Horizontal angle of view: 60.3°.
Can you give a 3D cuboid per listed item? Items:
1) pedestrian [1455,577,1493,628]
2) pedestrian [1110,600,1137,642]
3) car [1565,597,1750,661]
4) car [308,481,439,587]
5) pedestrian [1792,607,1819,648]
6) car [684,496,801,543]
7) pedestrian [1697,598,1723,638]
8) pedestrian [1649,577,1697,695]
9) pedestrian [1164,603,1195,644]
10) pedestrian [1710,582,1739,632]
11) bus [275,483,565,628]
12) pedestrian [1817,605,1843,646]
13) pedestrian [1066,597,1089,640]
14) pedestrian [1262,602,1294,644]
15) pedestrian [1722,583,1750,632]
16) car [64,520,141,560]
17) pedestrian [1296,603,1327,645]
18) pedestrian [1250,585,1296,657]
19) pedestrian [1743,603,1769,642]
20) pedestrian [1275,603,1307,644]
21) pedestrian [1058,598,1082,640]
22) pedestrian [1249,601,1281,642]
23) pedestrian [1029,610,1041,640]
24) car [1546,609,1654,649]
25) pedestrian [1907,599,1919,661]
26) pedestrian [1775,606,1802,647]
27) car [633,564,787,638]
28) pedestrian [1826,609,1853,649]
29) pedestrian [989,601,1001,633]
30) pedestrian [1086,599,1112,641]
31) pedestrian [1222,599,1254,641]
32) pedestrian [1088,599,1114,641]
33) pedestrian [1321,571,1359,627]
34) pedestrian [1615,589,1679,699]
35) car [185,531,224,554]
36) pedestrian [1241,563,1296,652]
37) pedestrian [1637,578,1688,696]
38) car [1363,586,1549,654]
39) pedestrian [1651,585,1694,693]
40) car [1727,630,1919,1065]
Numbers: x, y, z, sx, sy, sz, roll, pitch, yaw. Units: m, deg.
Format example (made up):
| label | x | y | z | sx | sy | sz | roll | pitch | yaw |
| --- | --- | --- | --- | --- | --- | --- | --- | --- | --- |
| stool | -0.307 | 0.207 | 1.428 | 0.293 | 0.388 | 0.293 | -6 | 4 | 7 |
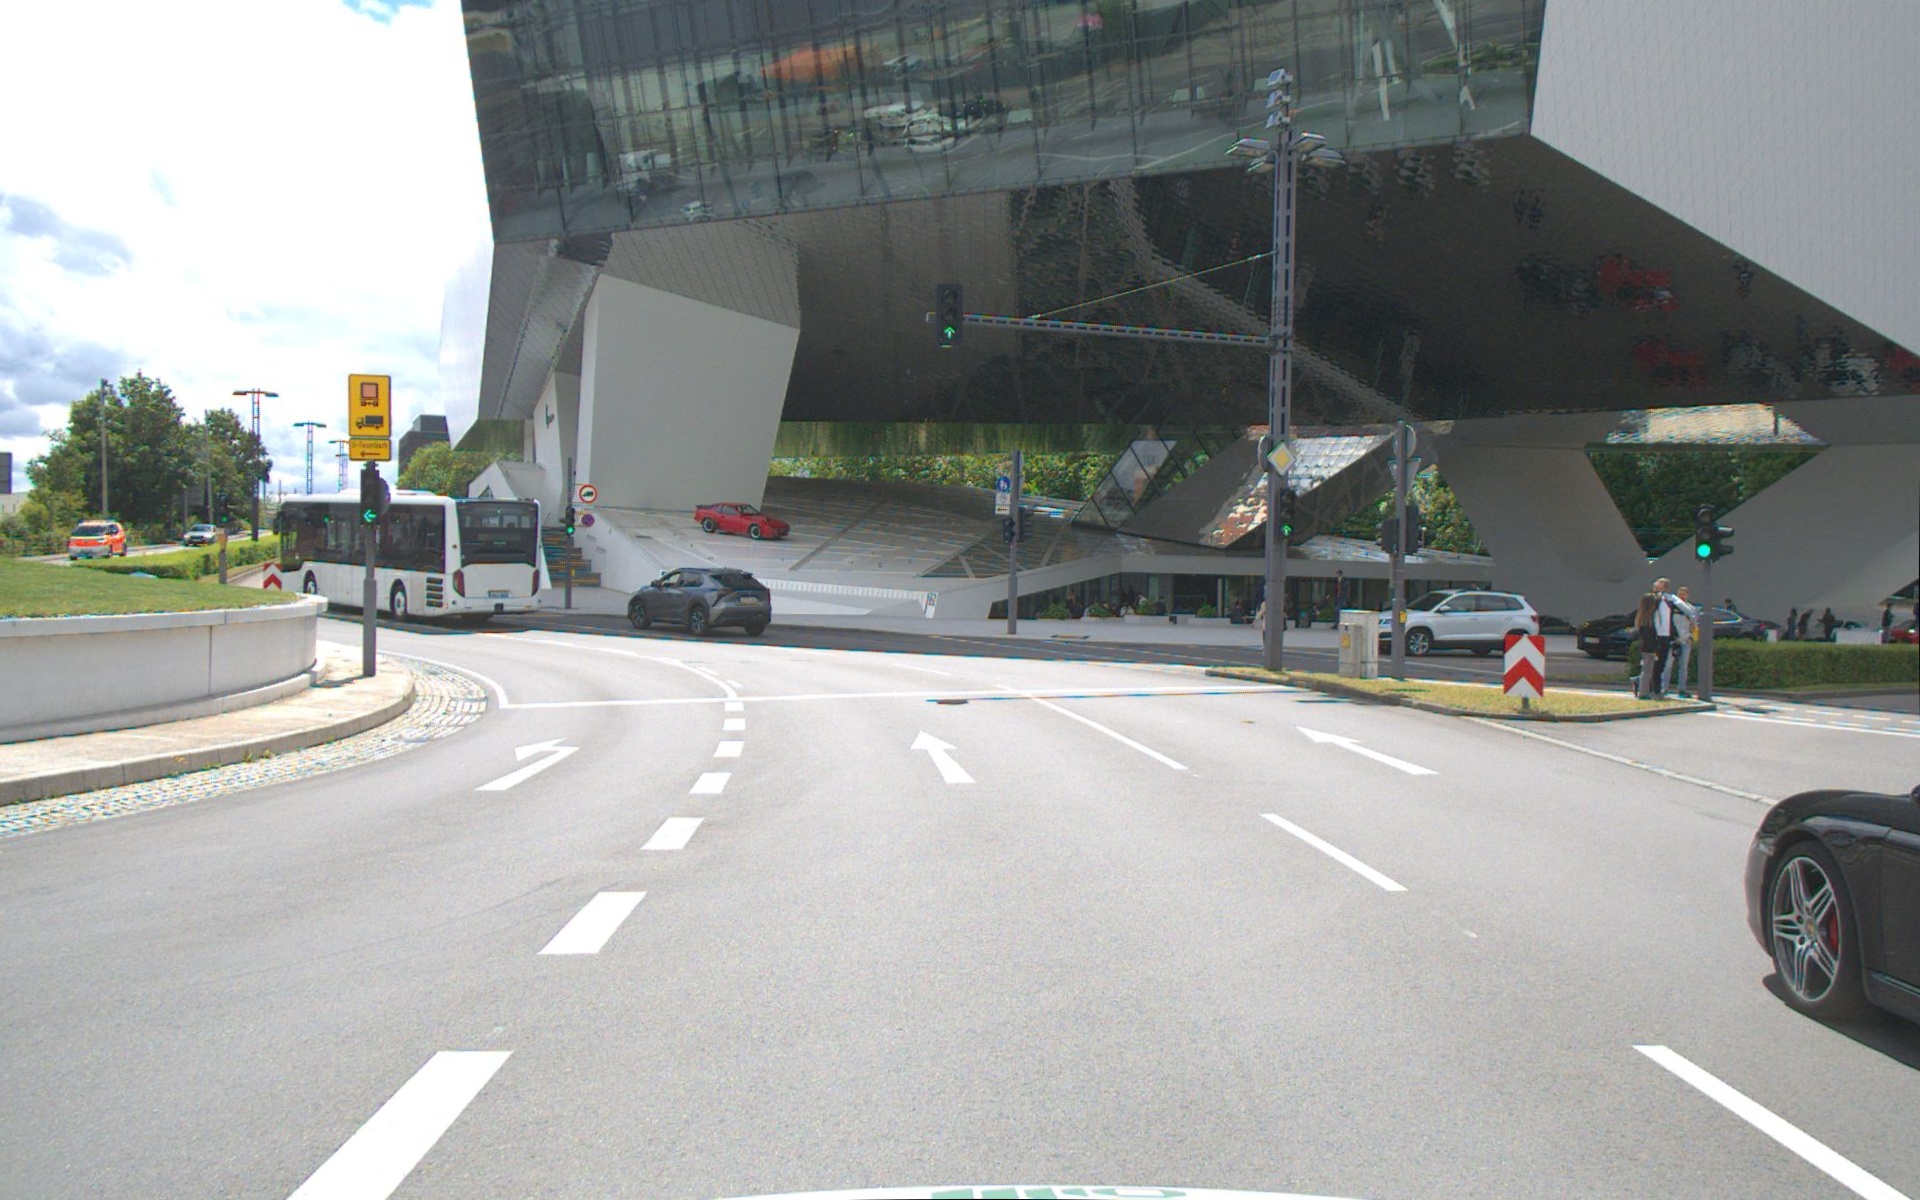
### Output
| label | x | y | z | sx | sy | sz | roll | pitch | yaw |
| --- | --- | --- | --- | --- | --- | --- | --- | --- | --- |
| pedestrian | 17.619 | 0.092 | 56.654 | 0.818 | 1.705 | 0.915 | 2 | -1 | -27 |
| pedestrian | 6.382 | 0.813 | 64.416 | 0.779 | 1.600 | 0.691 | 1 | -1 | 34 |
| car | 17.213 | 0.724 | 40.809 | 4.086 | 1.407 | 1.827 | 2 | 1 | -22 |
| car | -22.548 | -2.373 | 63.237 | 3.297 | 3.565 | 9.255 | 2 | -1 | -28 |
| pedestrian | 37.765 | 1.227 | 73.856 | 0.818 | 1.769 | 0.767 | 3 | -1 | -34 |
| car | -9.033 | -3.370 | 68.654 | 4.417 | 1.417 | 1.998 | 9 | 8 | 28 |
| pedestrian | 34.044 | 0.805 | 75.095 | 0.817 | 1.769 | 0.768 | 2 | -1 | -33 |
| pedestrian | 11.585 | 0.579 | 26.865 | 0.658 | 1.879 | 0.619 | 1 | -1 | 27 |
| pedestrian | 8.653 | 0.926 | 65.293 | 0.818 | 1.600 | 0.915 | 2 | -1 | -27 |
| pedestrian | 31.855 | 0.300 | 68.921 | 0.818 | 2.049 | 0.767 | 3 | -2 | -36 |
| bus | -15.164 | -1.291 | 45.482 | 3.054 | 3.420 | 12.042 | 3 | 0 | -41 |
| pedestrian | 38.504 | 1.132 | 73.215 | 0.820 | 1.769 | 0.765 | 3 | -2 | -41 |
| pedestrian | 4.526 | 0.724 | 63.768 | 0.810 | 1.600 | 0.924 | 2 | -1 | 4 |
| pedestrian | 12.432 | 0.886 | 64.582 | 0.818 | 1.600 | 0.915 | 2 | -1 | -27 |
| pedestrian | 32.742 | 0.319 | 69.767 | 0.818 | 2.049 | 0.767 | 3 | -2 | -36 |
| car | -45.184 | -3.158 | 87.252 | 1.955 | 2.018 | 4.831 | 0 | 1 | -6 |
| pedestrian | 13.825 | 0.938 | 65.040 | 0.816 | 1.600 | 0.918 | 2 | -1 | -21 |
| pedestrian | 6.758 | 0.457 | 35.698 | 0.757 | 1.522 | 0.580 | 1 | -2 | 40 |
| pedestrian | 36.597 | 1.020 | 76.004 | 0.818 | 1.769 | 0.767 | 3 | -2 | -36 |
| pedestrian | 13.148 | 0.927 | 65.651 | 0.818 | 1.600 | 0.915 | 2 | -1 | -27 |
| pedestrian | 4.328 | 0.757 | 64.953 | 0.810 | 1.600 | 0.924 | 1 | -1 | 9 |
| pedestrian | 12.065 | 0.846 | 65.420 | 0.818 | 1.600 | 0.915 | 2 | -1 | -27 |
| pedestrian | 3.246 | 1.071 | 71.546 | 0.462 | 1.275 | 0.562 | 2 | -1 | 4 |
| car | 27.840 | 1.255 | 71.986 | 3.906 | 1.576 | 1.999 | 2 | -1 | -2 |
| pedestrian | 31.866 | 0.996 | 54.710 | 0.758 | 2.049 | 0.828 | 1 | -1 | 20 |
| pedestrian | 36.280 | 1.157 | 72.455 | 0.818 | 1.769 | 0.767 | 3 | -2 | -36 |
| car | -6.318 | -0.008 | 41.598 | 1.984 | 1.665 | 3.939 | 0 | 2 | -42 |
| pedestrian | 39.495 | 1.288 | 74.244 | 0.817 | 1.769 | 0.768 | 2 | -1 | -33 |
| pedestrian | 1.379 | 0.674 | 65.373 | 0.387 | 1.275 | 0.400 | 2 | -1 | -7 |
| pedestrian | 5.453 | 0.789 | 64.776 | 0.901 | 1.600 | 0.831 | 2 | -1 | 9 |
| pedestrian | 10.844 | 0.793 | 64.491 | 0.818 | 1.600 | 0.915 | 2 | -1 | -27 |
| pedestrian | 5.450 | 0.771 | 63.710 | 0.901 | 1.600 | 0.831 | 2 | -1 | 9 |
| pedestrian | 12.870 | -0.038 | 56.014 | 0.818 | 1.858 | 0.915 | 2 | -1 | -27 |
| pedestrian | 10.600 | 0.672 | 25.510 | 0.613 | 1.667 | 0.665 | 3 | -1 | -34 |
| car | -51.764 | -3.958 | 113.390 | 1.727 | 1.421 | 4.654 | 2 | 2 | -17 |
| pedestrian | 7.201 | 0.156 | 38.640 | 0.934 | 2.019 | 1.381 | 2 | 1 | -2 |
| pedestrian | 11.127 | 0.580 | 26.184 | 0.658 | 1.826 | 0.619 | 1 | -1 | 29 |
| car | 11.903 | 0.472 | 39.795 | 3.917 | 1.577 | 1.833 | 0 | -1 | -12 |
| pedestrian | 12.044 | 0.651 | 27.941 | 0.593 | 1.790 | 0.619 | 1 | -1 | 28 |
| car | 3.984 | 0.839 | 4.753 | 1.796 | 1.348 | 4.001 | 0 | 1 | 1 |
